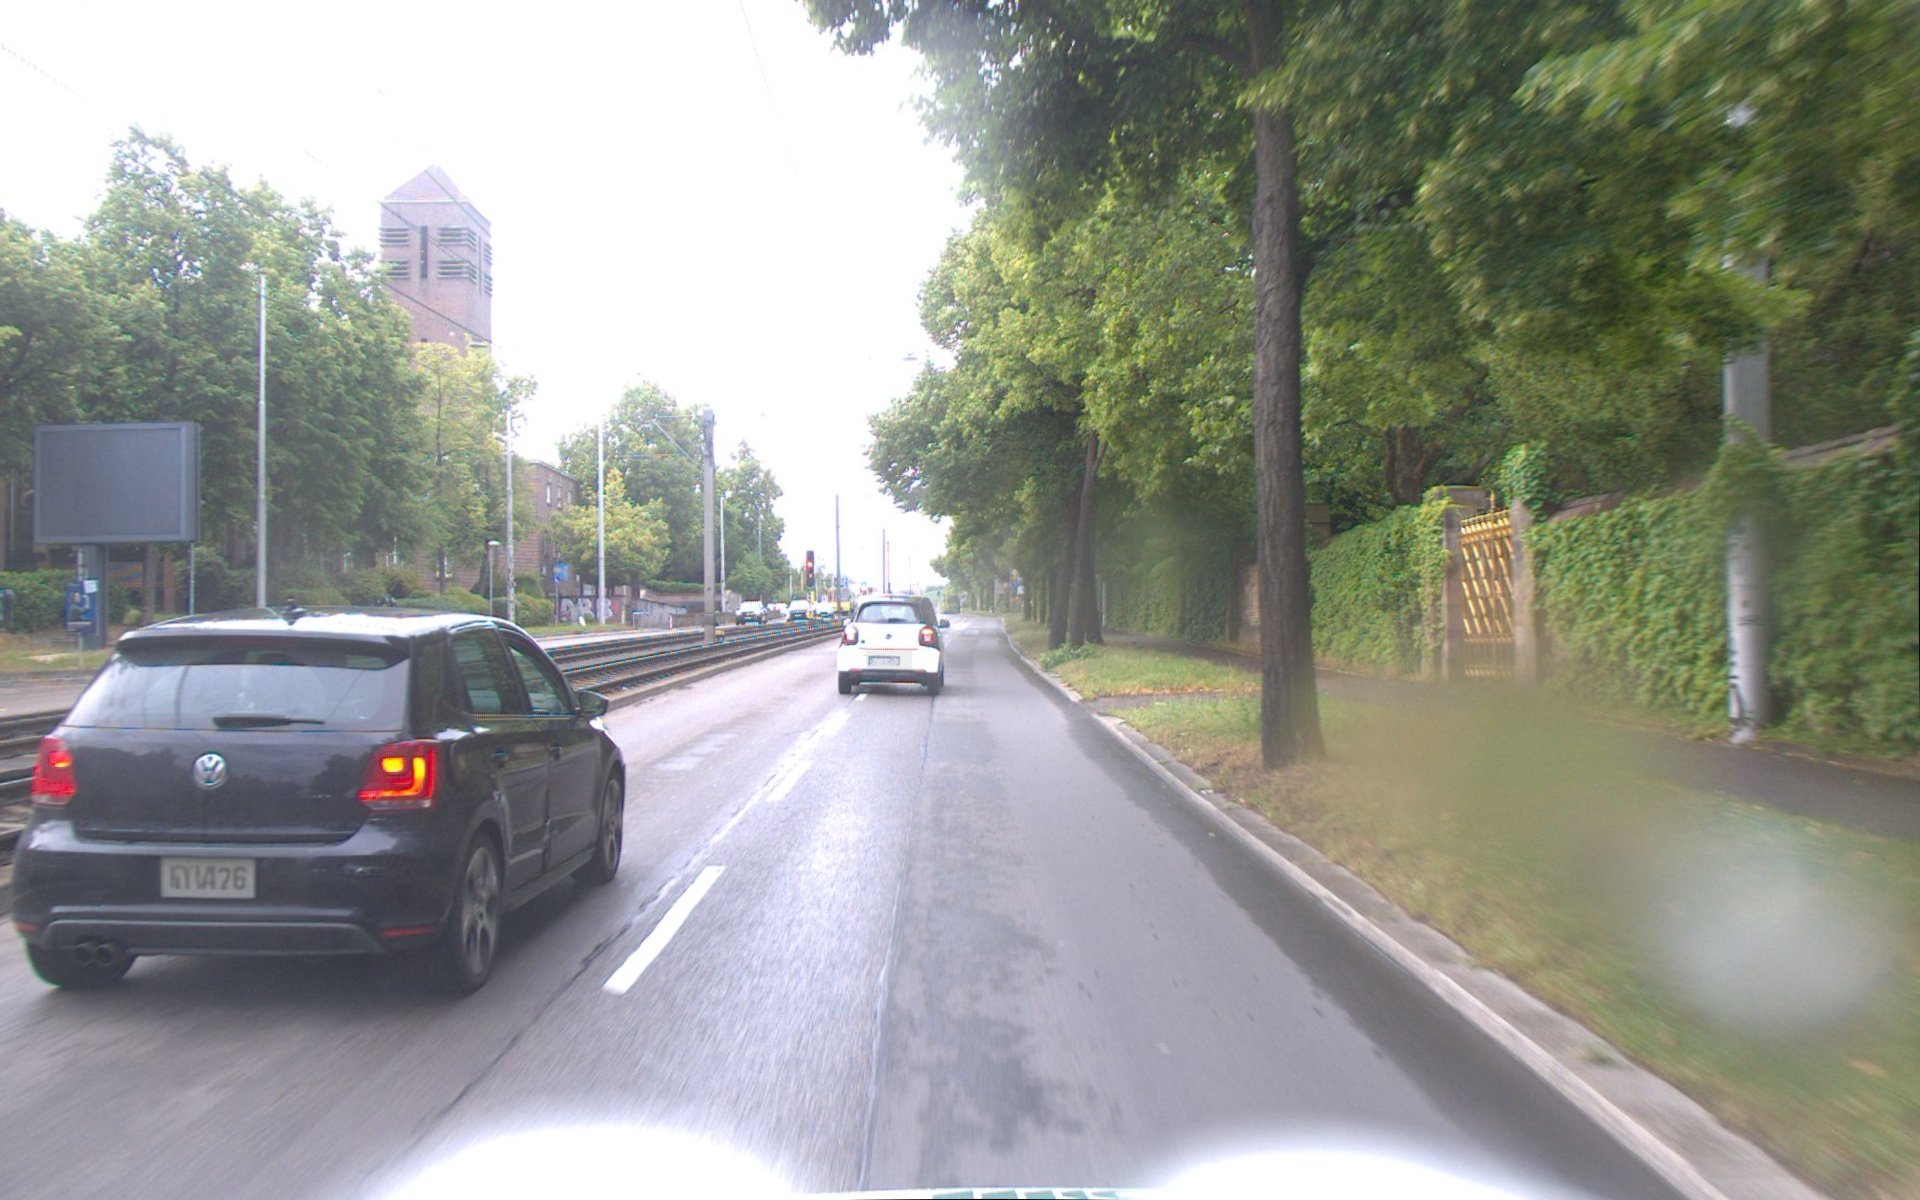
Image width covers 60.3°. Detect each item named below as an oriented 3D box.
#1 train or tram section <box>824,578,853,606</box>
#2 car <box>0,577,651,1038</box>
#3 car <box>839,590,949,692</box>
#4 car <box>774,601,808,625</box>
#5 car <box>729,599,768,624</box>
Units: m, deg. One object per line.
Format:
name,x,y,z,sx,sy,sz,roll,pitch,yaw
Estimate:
train or tram section,-16.218,-1.078,221.028,2.781,3.668,9.246,1,0,-11
car,-2.606,0.675,7.470,1.758,1.511,3.963,1,0,-2
car,-1.027,0.622,27.243,1.641,1.557,3.721,-1,0,0
car,-12.369,0.959,121.390,1.796,1.685,4.241,-1,0,3
car,-15.038,0.780,117.816,1.970,1.685,4.619,-1,0,3
